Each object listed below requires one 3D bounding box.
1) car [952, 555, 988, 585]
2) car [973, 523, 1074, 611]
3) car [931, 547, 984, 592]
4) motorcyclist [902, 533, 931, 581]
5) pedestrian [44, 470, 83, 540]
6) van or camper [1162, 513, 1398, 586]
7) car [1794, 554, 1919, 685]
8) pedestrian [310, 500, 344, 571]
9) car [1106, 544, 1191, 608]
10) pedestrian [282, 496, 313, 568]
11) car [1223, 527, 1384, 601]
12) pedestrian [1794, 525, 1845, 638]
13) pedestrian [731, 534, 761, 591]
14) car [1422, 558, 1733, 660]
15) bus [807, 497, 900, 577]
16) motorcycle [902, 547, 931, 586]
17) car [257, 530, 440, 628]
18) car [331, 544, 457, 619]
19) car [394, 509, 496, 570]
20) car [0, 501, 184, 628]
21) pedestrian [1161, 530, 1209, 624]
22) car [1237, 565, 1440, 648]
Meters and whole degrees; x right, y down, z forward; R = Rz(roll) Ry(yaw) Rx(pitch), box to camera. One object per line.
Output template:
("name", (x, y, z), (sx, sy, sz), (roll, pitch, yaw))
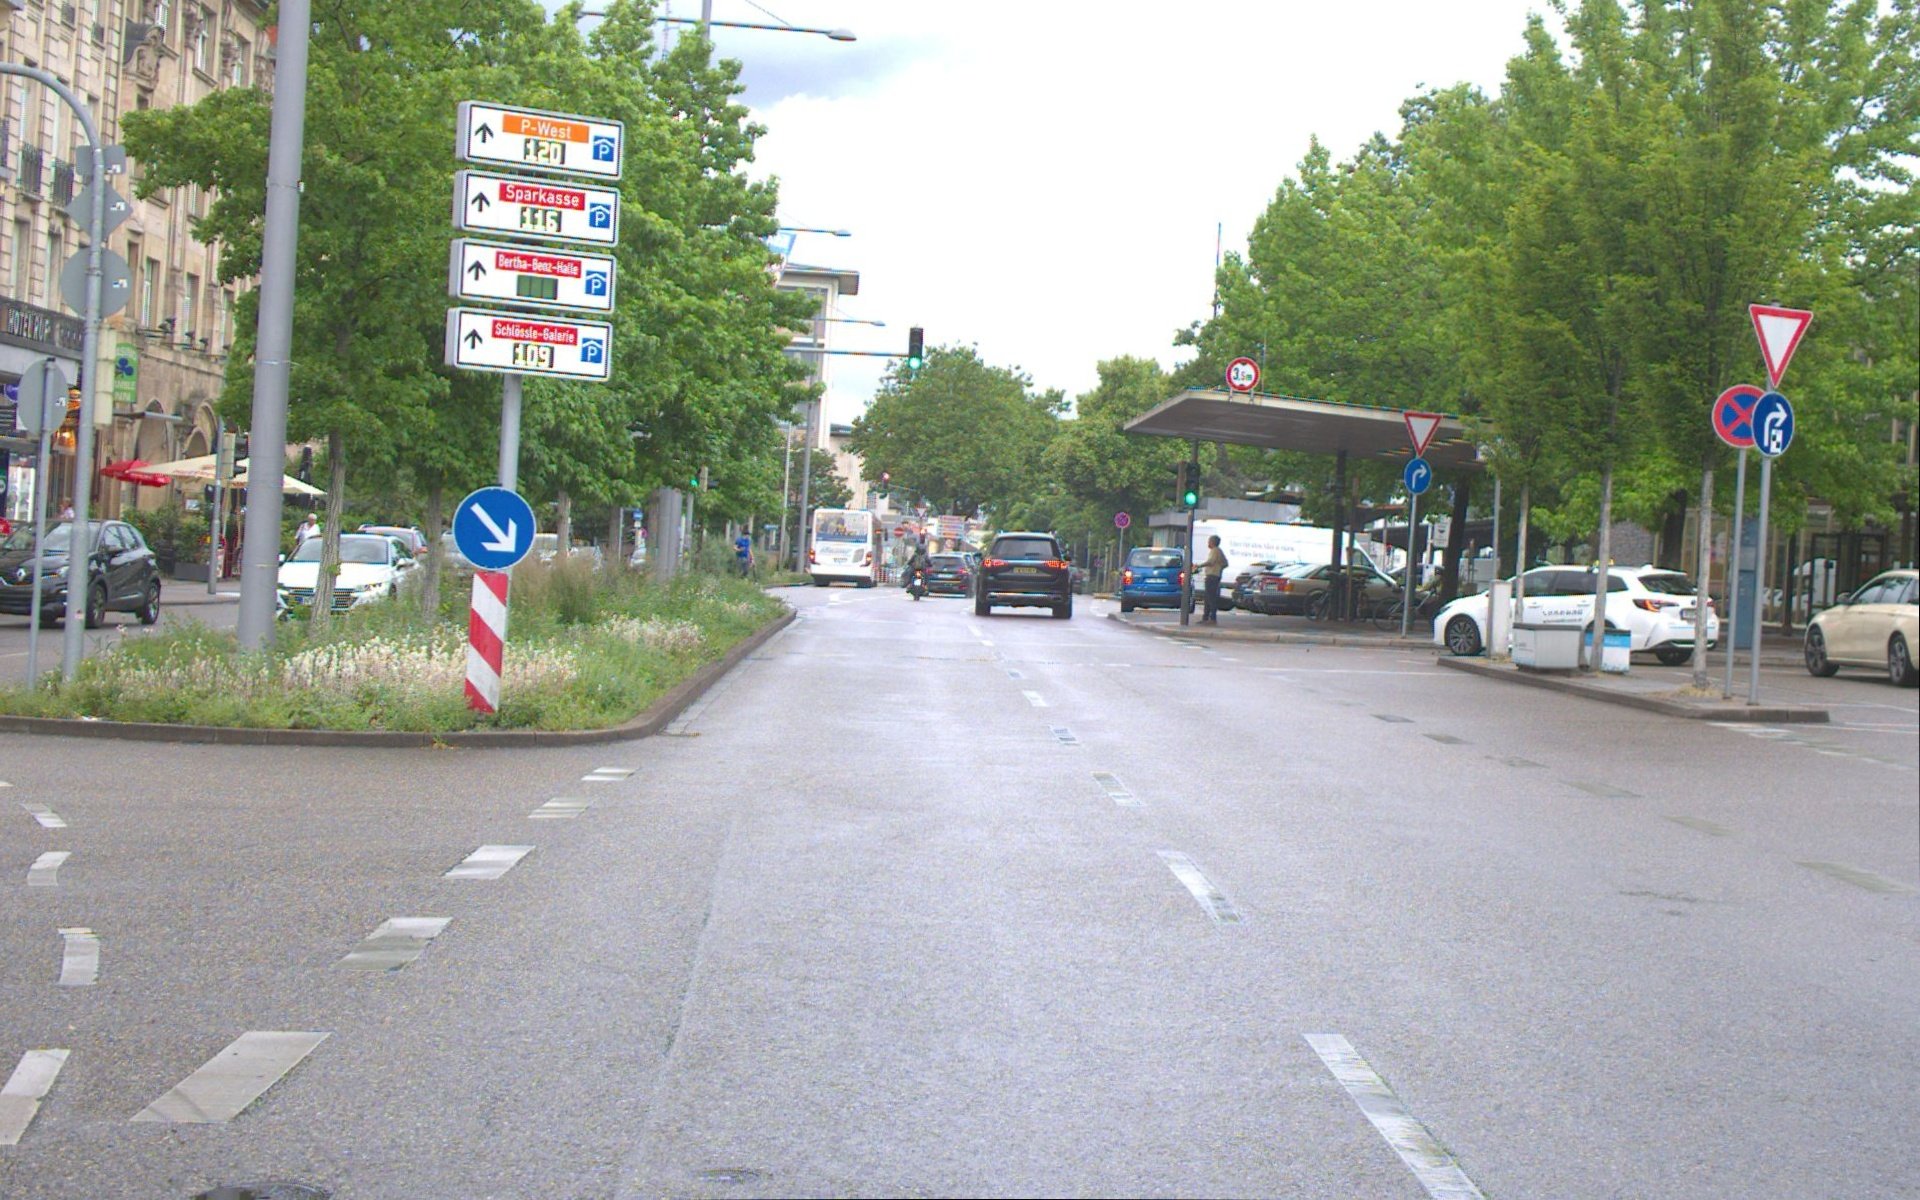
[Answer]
("car", (0.476, -1.506, 171.203), (1.708, 1.469, 4.000), (1, 1, -1))
("car", (1.331, -0.736, 73.672), (1.993, 1.800, 4.690), (1, 1, -1))
("car", (-0.098, -1.030, 114.420), (1.708, 1.443, 4.000), (1, 1, -1))
("motorcyclist", (-1.230, -1.215, 96.735), (0.764, 1.327, 0.866), (2, 1, 0))
("pedestrian", (-19.504, -2.058, 74.796), (0.661, 1.505, 0.519), (1, 1, -38))
("van or camper", (9.594, -1.492, 102.828), (6.753, 2.007, 2.385), (1, 0, -26))
("car", (12.609, 0.235, 44.298), (1.993, 1.594, 4.824), (1, 1, -7))
("pedestrian", (-15.268, -1.560, 82.939), (0.674, 1.696, 0.634), (1, 1, -1))
("car", (4.653, -0.618, 85.397), (1.816, 1.525, 4.000), (1, 1, -1))
("pedestrian", (-15.981, -1.636, 82.930), (0.575, 1.726, 0.609), (2, 1, -1))
("car", (9.649, -1.017, 96.647), (3.986, 2.007, 2.001), (1, 1, -20))
("pedestrian", (18.435, -0.406, 73.755), (0.843, 2.403, 0.862), (1, 1, 1))
("pedestrian", (-6.487, -1.140, 104.206), (0.758, 1.695, 0.559), (2, 1, 6))
("car", (9.120, 0.114, 51.035), (1.774, 1.380, 4.366), (0, 1, -41))
("bus", (-4.689, -2.717, 149.113), (3.760, 3.198, 15.528), (1, 1, -2))
("motorcycle", (-1.227, -0.944, 96.627), (0.766, 1.073, 2.175), (2, 1, 0))
("car", (-9.137, -0.345, 51.719), (1.724, 1.377, 4.859), (1, 1, 2))
("car", (-11.615, -0.405, 70.732), (1.631, 1.471, 4.026), (1, 1, 4))
("car", (-12.667, -1.492, 84.758), (1.755, 1.436, 4.060), (1, 1, 2))
("car", (-12.735, -0.547, 49.462), (1.772, 1.525, 4.078), (3, 4, 6))
("pedestrian", (4.353, -0.451, 66.561), (0.717, 1.785, 0.666), (1, 1, -12))
("car", (9.056, 0.158, 82.279), (4.335, 1.851, 2.001), (1, 1, -20))
